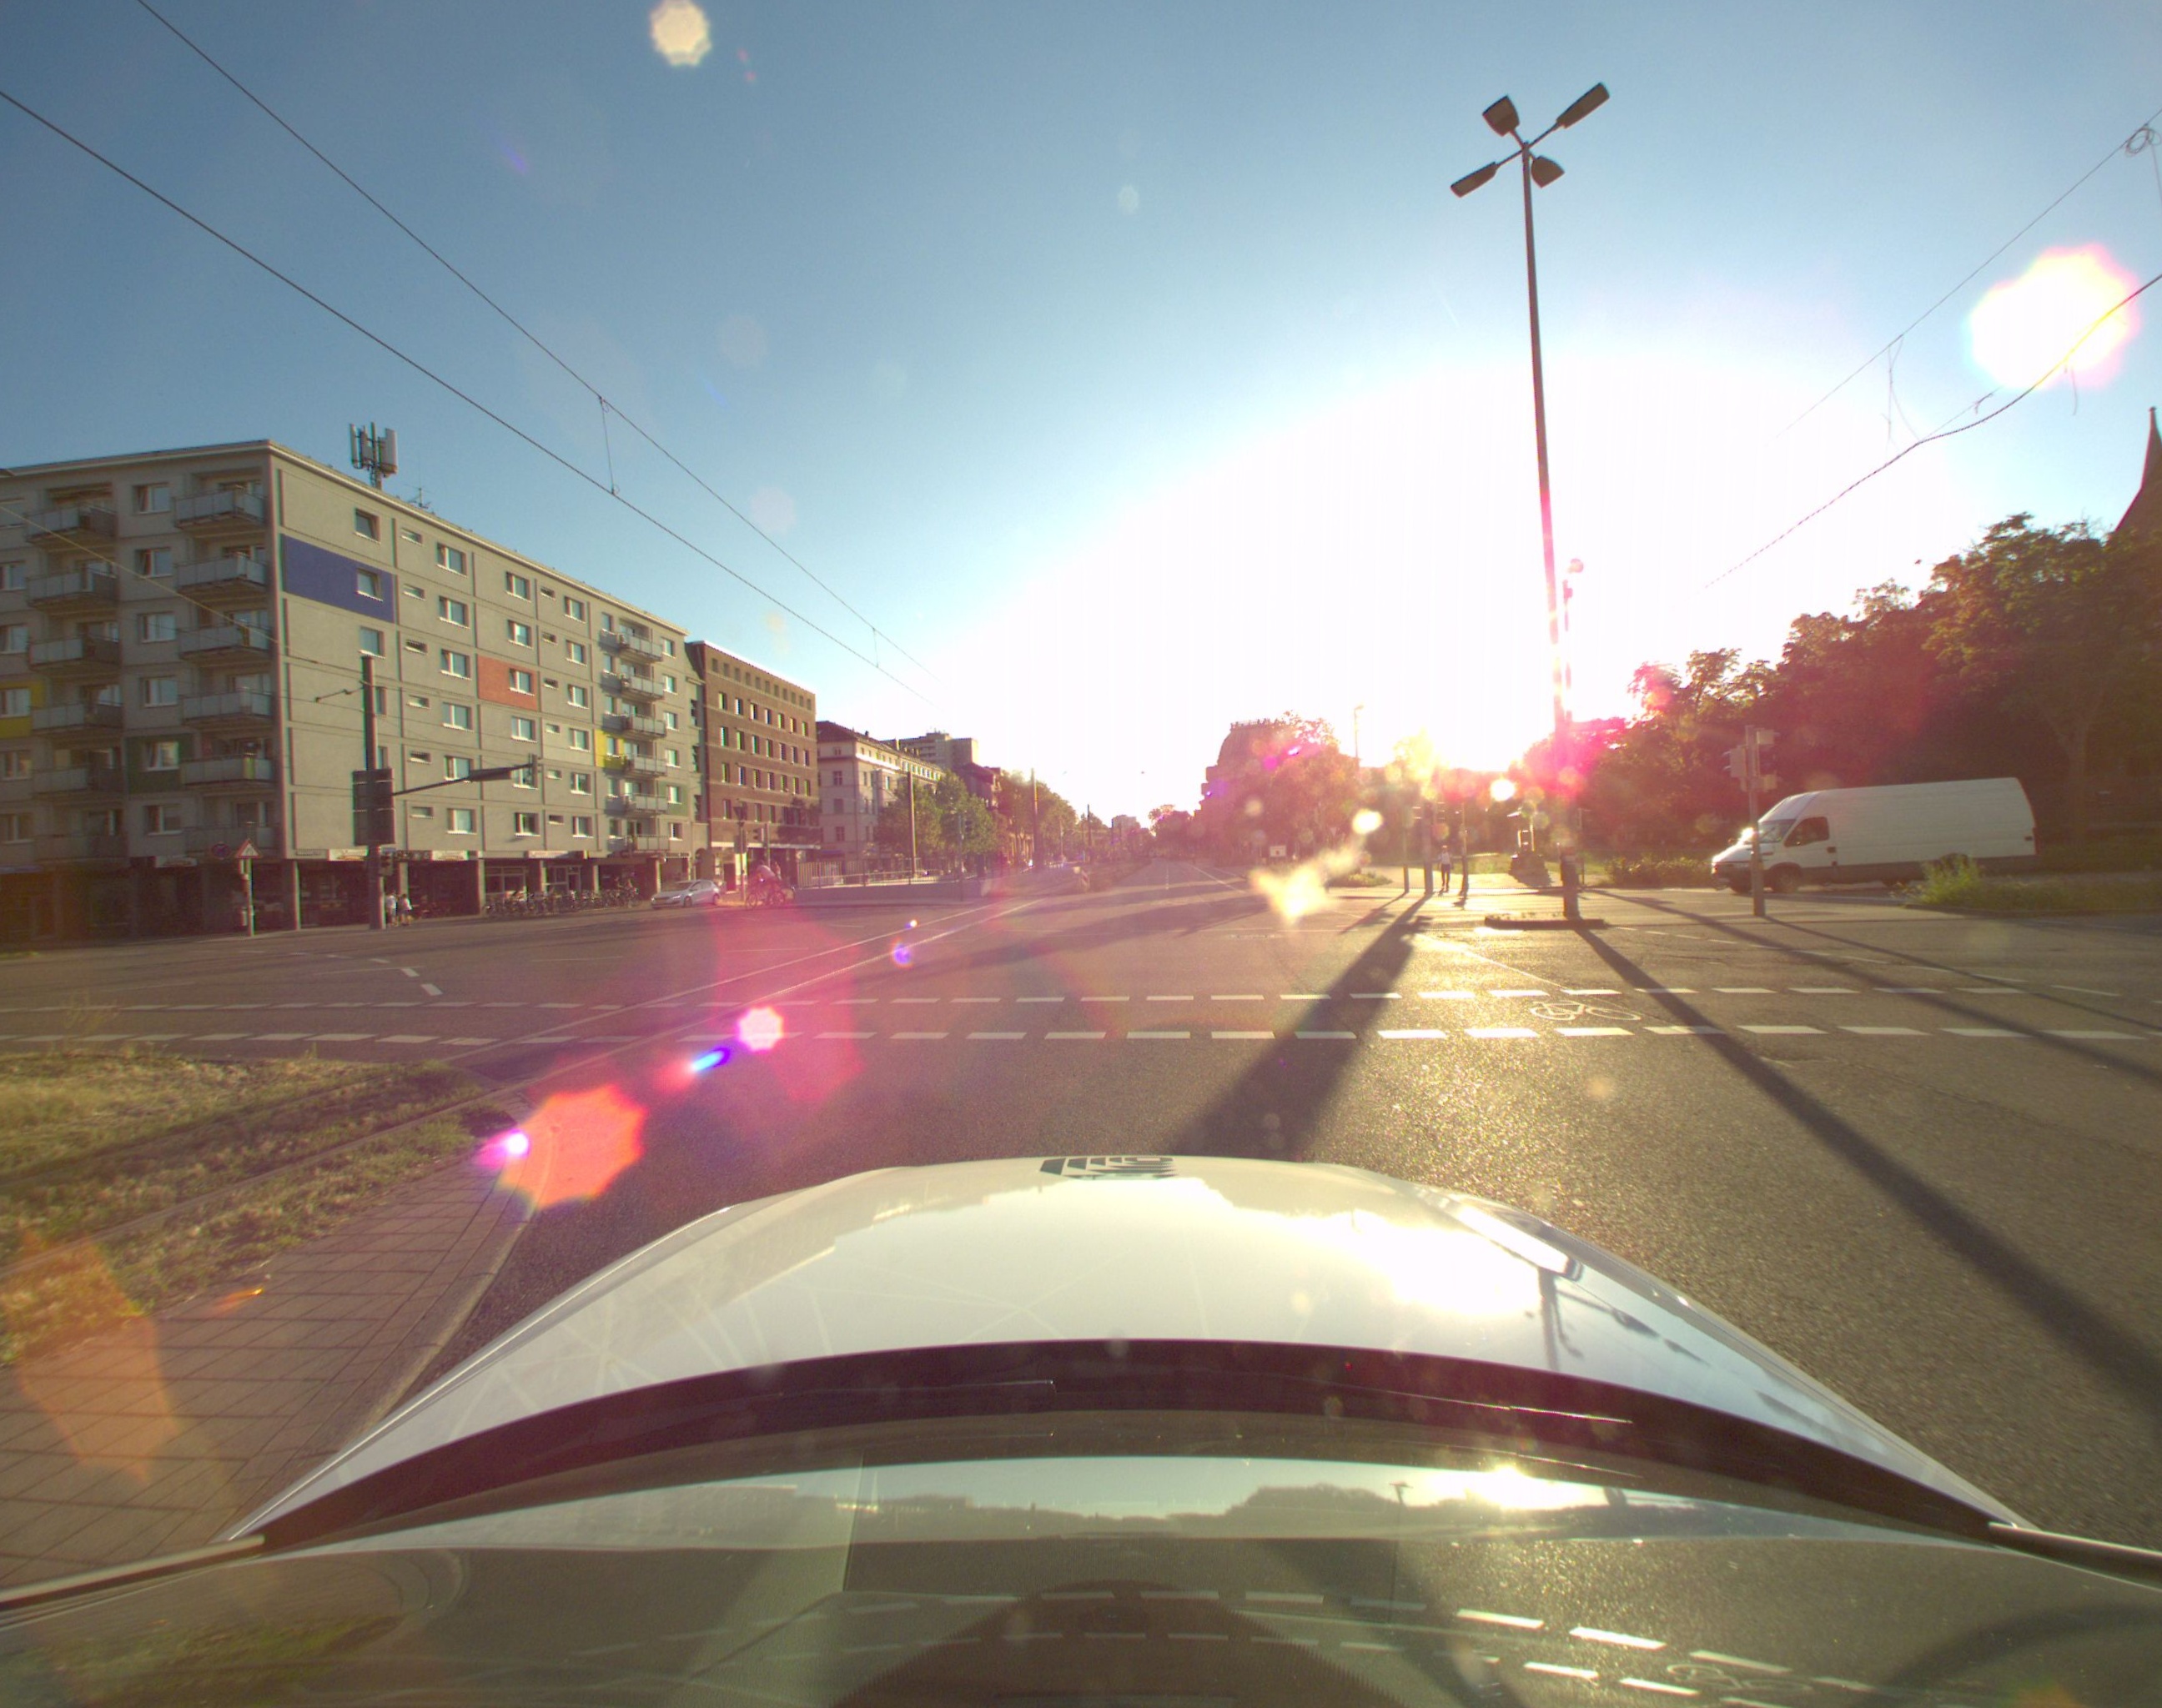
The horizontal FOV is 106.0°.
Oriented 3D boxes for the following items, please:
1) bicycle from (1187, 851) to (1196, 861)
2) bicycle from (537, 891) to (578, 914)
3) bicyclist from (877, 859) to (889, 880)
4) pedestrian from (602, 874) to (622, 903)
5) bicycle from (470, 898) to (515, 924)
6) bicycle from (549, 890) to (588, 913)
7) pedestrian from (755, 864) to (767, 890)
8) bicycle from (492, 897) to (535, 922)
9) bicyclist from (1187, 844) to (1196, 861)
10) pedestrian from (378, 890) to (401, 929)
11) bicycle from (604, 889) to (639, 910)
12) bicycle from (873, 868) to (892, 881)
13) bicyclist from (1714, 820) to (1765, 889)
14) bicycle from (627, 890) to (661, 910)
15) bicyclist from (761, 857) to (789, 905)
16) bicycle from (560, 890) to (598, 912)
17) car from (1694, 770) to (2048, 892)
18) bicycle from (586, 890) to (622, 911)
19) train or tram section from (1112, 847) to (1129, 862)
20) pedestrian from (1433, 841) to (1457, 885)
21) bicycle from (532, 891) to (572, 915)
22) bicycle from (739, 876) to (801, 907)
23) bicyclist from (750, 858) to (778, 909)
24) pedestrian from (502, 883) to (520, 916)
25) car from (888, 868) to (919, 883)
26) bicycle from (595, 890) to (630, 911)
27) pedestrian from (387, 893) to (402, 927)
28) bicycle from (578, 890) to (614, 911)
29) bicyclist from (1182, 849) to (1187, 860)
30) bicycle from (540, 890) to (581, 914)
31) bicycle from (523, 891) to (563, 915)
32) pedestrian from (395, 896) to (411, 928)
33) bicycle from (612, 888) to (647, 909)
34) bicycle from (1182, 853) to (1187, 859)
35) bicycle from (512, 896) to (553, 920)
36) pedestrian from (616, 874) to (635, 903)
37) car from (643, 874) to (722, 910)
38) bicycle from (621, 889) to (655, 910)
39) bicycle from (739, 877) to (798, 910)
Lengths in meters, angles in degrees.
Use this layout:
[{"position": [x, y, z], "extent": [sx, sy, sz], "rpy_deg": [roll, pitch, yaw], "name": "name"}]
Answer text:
[{"position": [15.322, 0.250, 112.911], "extent": [1.092, 1.399, 2.837], "rpy_deg": [-2, 0, 6], "name": "bicycle"}, {"position": [-28.551, 2.630, 44.404], "extent": [1.821, 1.160, 0.641], "rpy_deg": [-2, -1, 6], "name": "bicycle"}, {"position": [-19.417, 1.556, 79.902], "extent": [0.792, 2.013, 0.926], "rpy_deg": [-3, 0, 8], "name": "bicyclist"}, {"position": [-30.867, 2.264, 53.622], "extent": [0.825, 1.812, 0.720], "rpy_deg": [-3, 0, -4], "name": "pedestrian"}, {"position": [-29.133, 2.822, 40.310], "extent": [1.785, 1.208, 0.639], "rpy_deg": [-2, -1, 5], "name": "bicycle"}, {"position": [-28.361, 2.623, 45.080], "extent": [1.767, 1.159, 0.606], "rpy_deg": [-2, -1, 6], "name": "bicycle"}, {"position": [-27.816, 1.995, 70.752], "extent": [0.598, 2.178, 0.793], "rpy_deg": [-3, 0, 6], "name": "pedestrian"}, {"position": [-28.777, 2.816, 41.299], "extent": [1.767, 1.142, 0.609], "rpy_deg": [-2, -1, 6], "name": "bicycle"}, {"position": [15.304, -0.191, 112.930], "extent": [1.077, 2.276, 0.988], "rpy_deg": [-2, 0, 6], "name": "bicyclist"}, {"position": [-29.931, 2.398, 35.273], "extent": [0.574, 1.620, 0.599], "rpy_deg": [-2, 0, -25], "name": "pedestrian"}, {"position": [-27.181, 2.663, 48.143], "extent": [1.681, 1.153, 0.707], "rpy_deg": [-2, -1, 8], "name": "bicycle"}, {"position": [-19.428, 2.003, 79.753], "extent": [0.808, 1.201, 2.418], "rpy_deg": [-3, 0, 9], "name": "bicycle"}, {"position": [19.926, 0.013, 24.673], "extent": [0.893, 2.013, 0.724], "rpy_deg": [-3, 0, 11], "name": "bicyclist"}, {"position": [-27.039, 2.852, 50.399], "extent": [1.681, 1.144, 0.698], "rpy_deg": [-2, -1, 8], "name": "bicycle"}, {"position": [-11.988, 1.047, 31.954], "extent": [0.876, 1.818, 0.536], "rpy_deg": [-2, -1, -11], "name": "bicyclist"}, {"position": [-28.172, 2.657, 45.721], "extent": [1.761, 1.136, 0.607], "rpy_deg": [-2, -1, 7], "name": "bicycle"}, {"position": [21.169, -0.564, 22.156], "extent": [6.971, 2.827, 2.097], "rpy_deg": [-2, 0, 8], "name": "car"}, {"position": [-27.414, 2.689, 46.820], "extent": [1.751, 1.119, 0.569], "rpy_deg": [-2, -1, 7], "name": "bicycle"}, {"position": [10.692, 0.122, 220.302], "extent": [4.369, 3.850, 11.417], "rpy_deg": [-3, 0, 2], "name": "train or tram section"}, {"position": [15.414, 0.373, 34.489], "extent": [0.825, 1.803, 0.815], "rpy_deg": [-3, 0, 22], "name": "pedestrian"}, {"position": [-27.895, 2.584, 42.929], "extent": [1.760, 1.182, 0.569], "rpy_deg": [-2, -1, 6], "name": "bicycle"}, {"position": [-12.169, 1.463, 31.909], "extent": [2.165, 1.083, 0.537], "rpy_deg": [-2, 0, -11], "name": "bicycle"}, {"position": [-11.644, 1.066, 29.908], "extent": [0.793, 1.818, 0.643], "rpy_deg": [-2, -1, -12], "name": "bicyclist"}, {"position": [-29.427, 2.342, 42.048], "extent": [0.580, 1.684, 0.544], "rpy_deg": [-3, -1, -15], "name": "pedestrian"}, {"position": [-19.565, 2.390, 89.955], "extent": [1.808, 1.420, 4.011], "rpy_deg": [-3, 0, 10], "name": "car"}, {"position": [-27.310, 2.723, 47.459], "extent": [1.717, 1.124, 0.635], "rpy_deg": [-2, -1, 8], "name": "bicycle"}, {"position": [-30.706, 2.502, 36.424], "extent": [0.378, 1.448, 0.392], "rpy_deg": [-2, 0, -21], "name": "pedestrian"}, {"position": [-27.509, 2.638, 46.239], "extent": [1.745, 1.117, 0.553], "rpy_deg": [-2, -1, 7], "name": "bicycle"}, {"position": [20.634, 0.075, 162.088], "extent": [0.921, 2.014, 0.852], "rpy_deg": [-2, -1, 6], "name": "bicyclist"}, {"position": [-27.853, 2.564, 43.583], "extent": [1.779, 1.191, 0.653], "rpy_deg": [-2, -1, 6], "name": "bicycle"}, {"position": [-27.971, 2.533, 42.342], "extent": [1.756, 1.167, 0.541], "rpy_deg": [-2, -1, 6], "name": "bicycle"}, {"position": [-29.942, 2.571, 35.961], "extent": [0.383, 1.383, 0.393], "rpy_deg": [-2, 0, -22], "name": "pedestrian"}, {"position": [-27.104, 2.679, 48.884], "extent": [1.681, 1.179, 0.750], "rpy_deg": [-2, -1, 8], "name": "bicycle"}, {"position": [20.642, 0.468, 162.014], "extent": [0.919, 1.111, 2.337], "rpy_deg": [-2, 0, 6], "name": "bicycle"}, {"position": [-28.164, 2.758, 41.818], "extent": [1.747, 1.139, 0.601], "rpy_deg": [-2, -1, 7], "name": "bicycle"}, {"position": [-30.007, 2.261, 53.694], "extent": [0.784, 1.841, 0.734], "rpy_deg": [-3, 0, -2], "name": "pedestrian"}, {"position": [-20.709, 1.924, 42.532], "extent": [1.680, 1.618, 4.009], "rpy_deg": [-3, 0, 8], "name": "car"}, {"position": [-27.020, 2.764, 49.657], "extent": [1.681, 1.170, 0.750], "rpy_deg": [-2, -1, 8], "name": "bicycle"}, {"position": [-11.468, 1.443, 29.941], "extent": [1.902, 1.075, 0.630], "rpy_deg": [-3, 0, -12], "name": "bicycle"}]
